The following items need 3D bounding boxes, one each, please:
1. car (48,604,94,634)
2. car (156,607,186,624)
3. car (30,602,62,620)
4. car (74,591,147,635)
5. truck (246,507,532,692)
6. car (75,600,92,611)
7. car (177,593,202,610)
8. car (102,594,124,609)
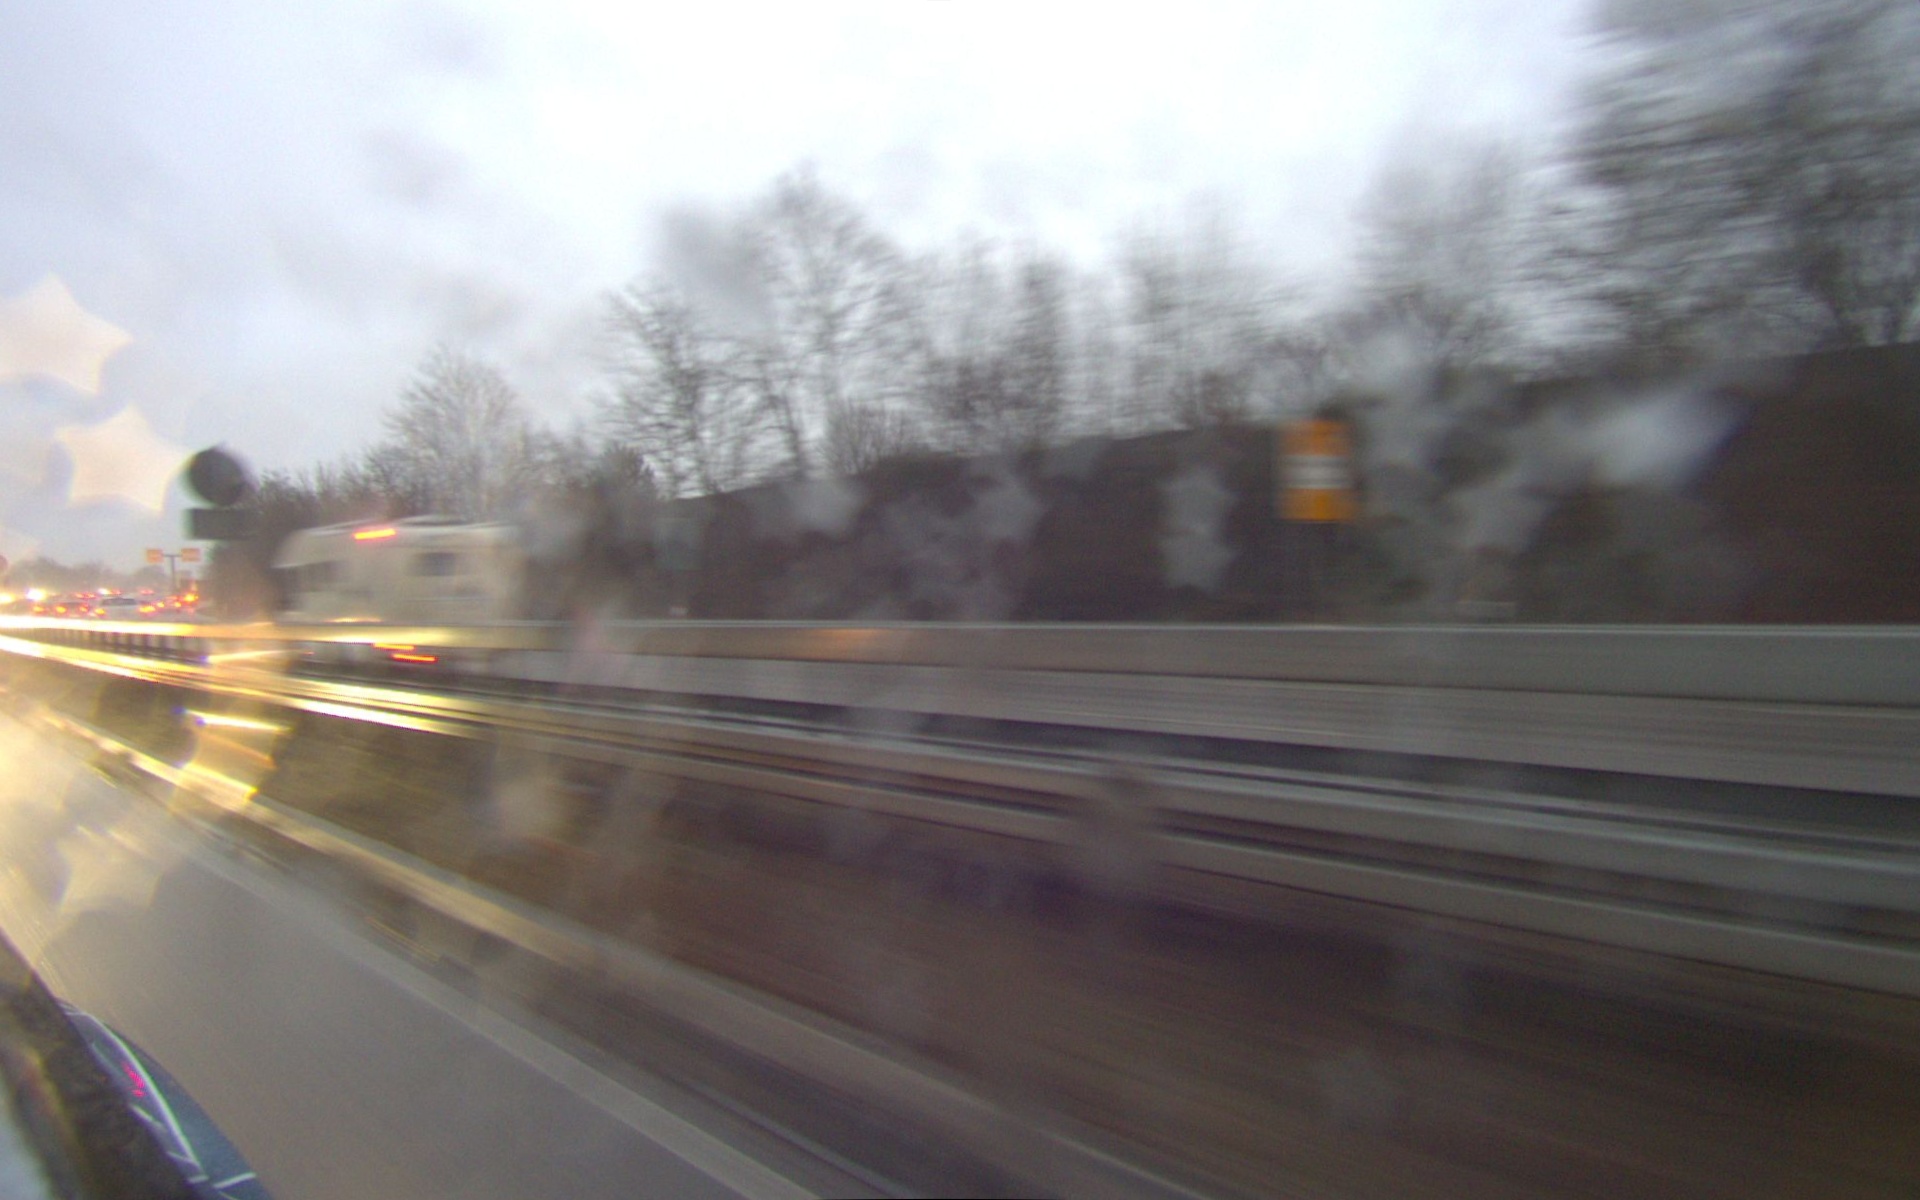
[{"bbox_3d":[-55.157,1.137,62.771,4.001,1.696,1.748,0,3,43],"label":"car"},{"bbox_3d":[-77.272,1.514,99.127,1.842,1.550,4.116,-3,3,-44],"label":"car"},{"bbox_3d":[-76.869,0.906,85.099,1.734,1.452,4.003,-3,3,-44],"label":"car"},{"bbox_3d":[-39.228,0.545,46.668,5.120,1.844,1.965,0,3,44],"label":"car"},{"bbox_3d":[-12.033,-0.074,20.951,7.726,3.184,2.686,0,2,41],"label":"truck"},{"bbox_3d":[-133.366,0.825,154.006,1.762,1.521,4.139,-3,3,-43],"label":"car"},{"bbox_3d":[-92.552,0.179,121.516,1.858,1.846,4.791,-3,3,-44],"label":"car"},{"bbox_3d":[-110.768,0.126,132.328,1.861,1.846,4.791,-3,3,-44],"label":"car"}]
